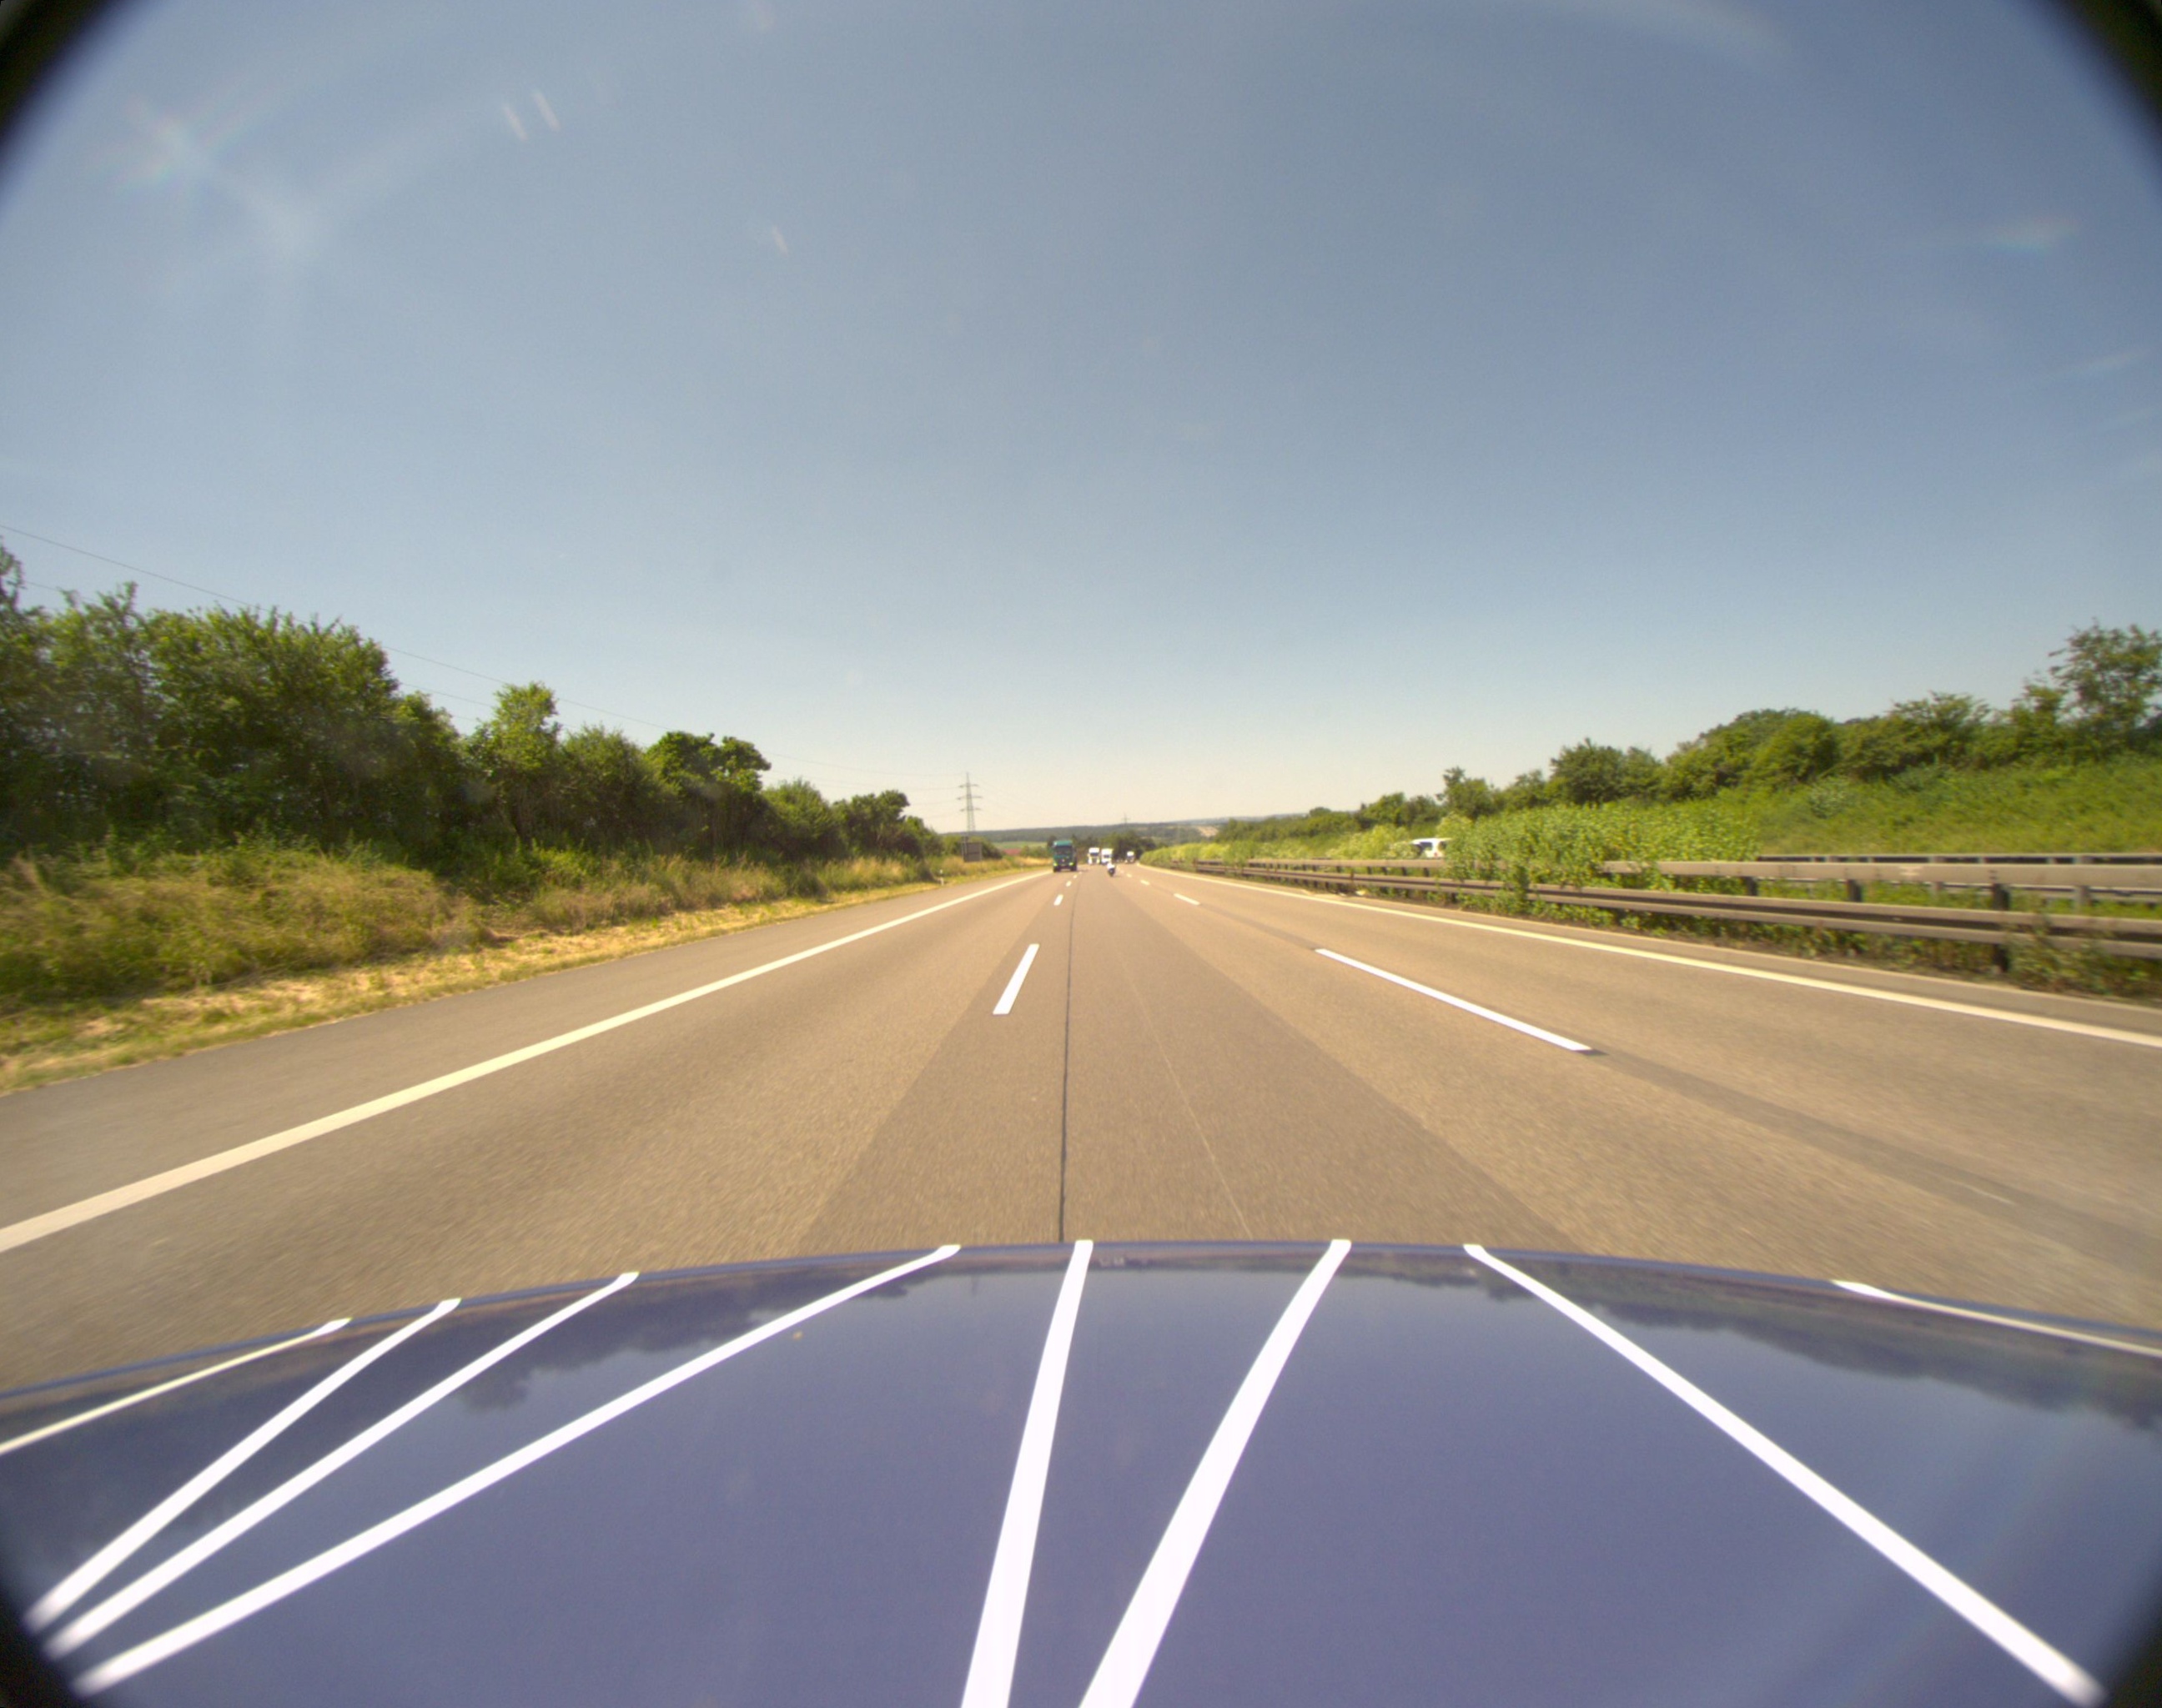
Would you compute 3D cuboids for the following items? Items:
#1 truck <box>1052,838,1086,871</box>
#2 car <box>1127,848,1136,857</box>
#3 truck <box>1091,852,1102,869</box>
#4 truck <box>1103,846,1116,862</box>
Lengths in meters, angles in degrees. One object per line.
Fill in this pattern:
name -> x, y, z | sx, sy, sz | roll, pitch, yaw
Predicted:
truck -> -1.344, 0.009, 93.265 | 2.871, 3.702, 12.767 | -2, 0, 5
car -> 11.717, -0.308, 176.441 | 1.704, 1.958, 4.000 | -2, 0, 2
truck -> 3.805, 1.583, 187.816 | 2.567, 4.129, 6.249 | -2, 0, 2
truck -> 5.949, 0.023, 157.541 | 2.512, 3.268, 8.108 | -1, 0, 2
